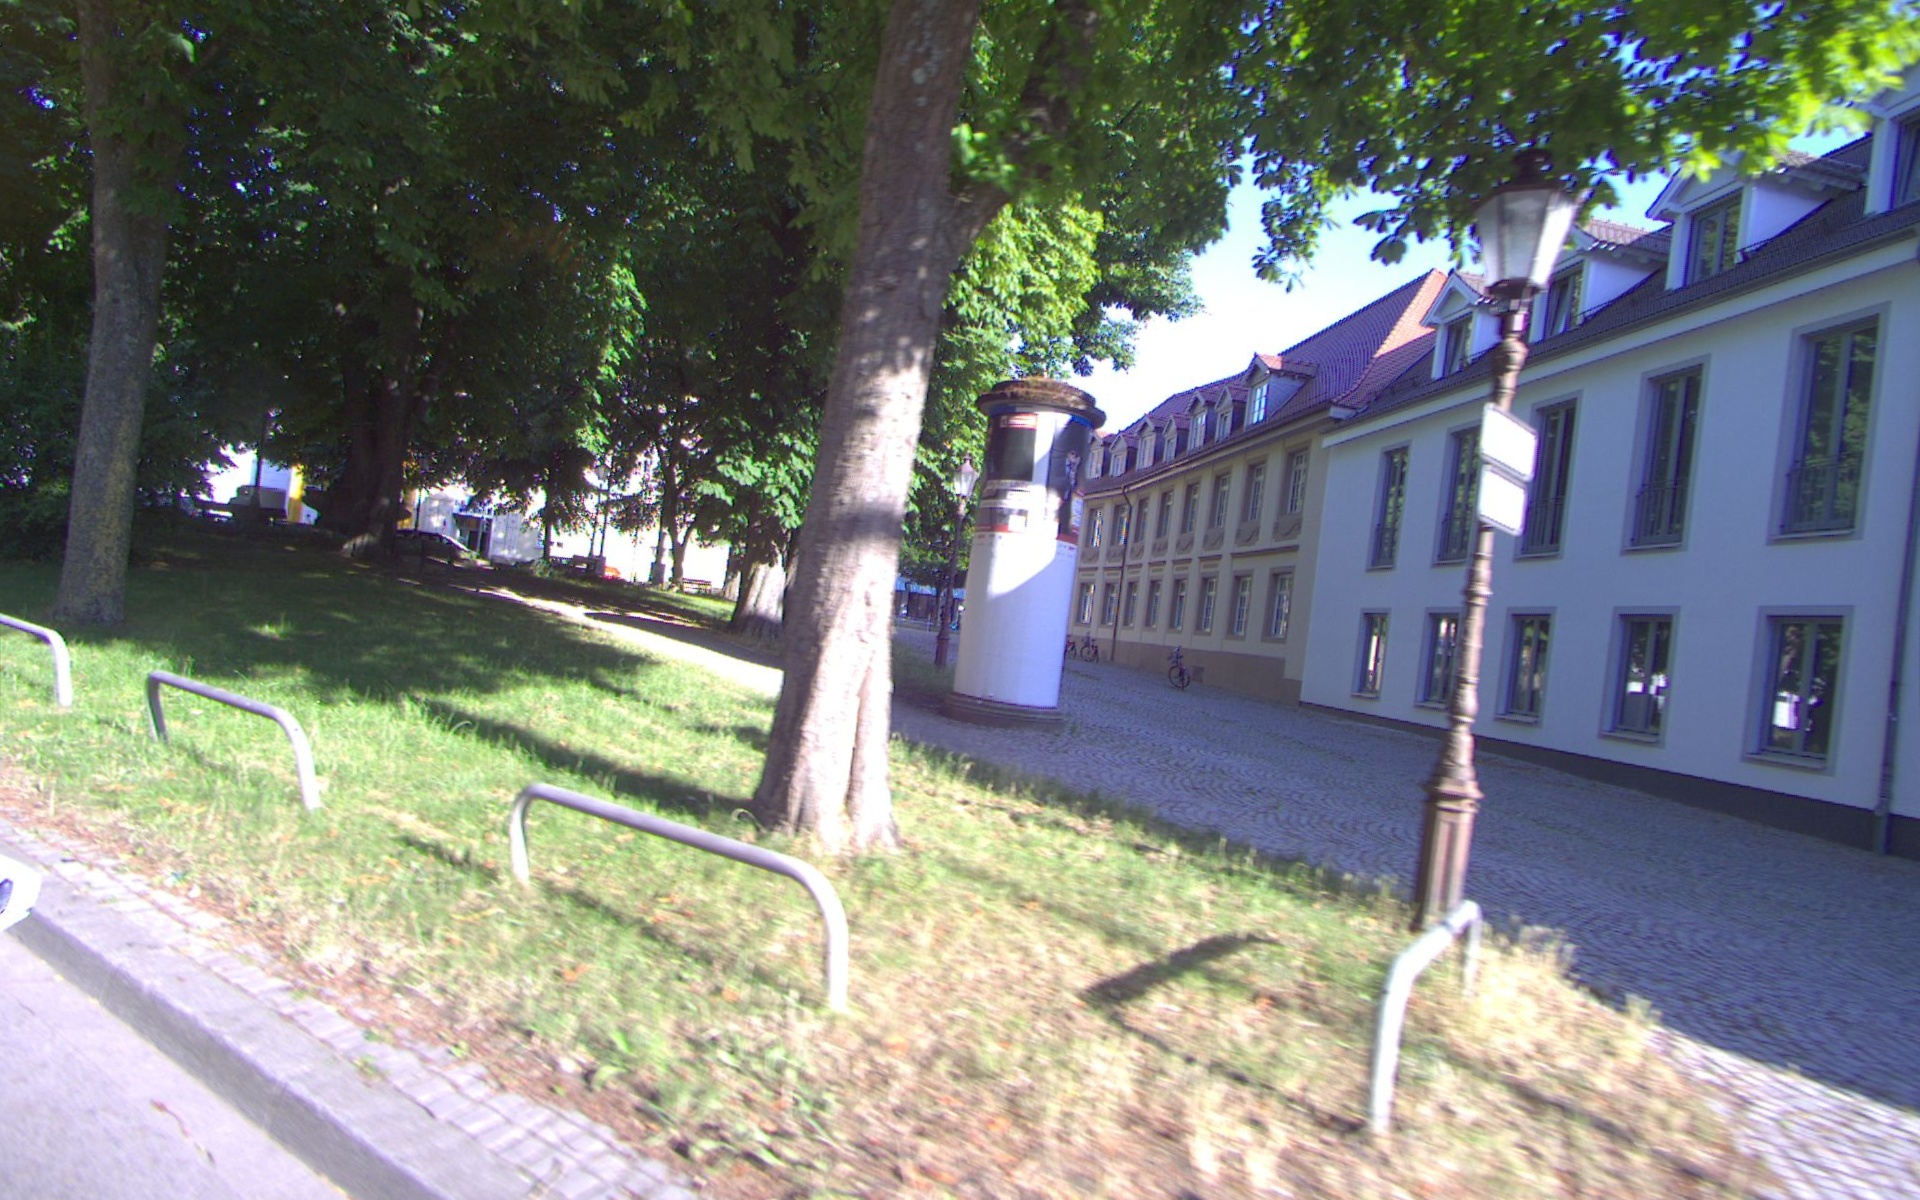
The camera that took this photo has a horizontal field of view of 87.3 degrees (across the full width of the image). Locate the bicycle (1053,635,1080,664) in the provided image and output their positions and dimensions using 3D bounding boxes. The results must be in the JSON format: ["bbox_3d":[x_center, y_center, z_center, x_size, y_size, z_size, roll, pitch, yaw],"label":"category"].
[{"bbox_3d":[4.201,1.929,39.794,0.507,0.970,1.757,7,0,-10],"label":"bicycle"}]

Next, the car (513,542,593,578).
[{"bbox_3d":[-22.397,-2.211,55.485,3.740,1.440,1.671,8,1,-13],"label":"car"}]

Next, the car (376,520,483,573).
[{"bbox_3d":[-25.301,-2.534,48.122,3.936,1.814,1.997,8,-2,-12],"label":"car"}]

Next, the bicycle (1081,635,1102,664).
[{"bbox_3d":[4.992,1.865,38.393,0.506,0.970,1.760,7,0,2],"label":"bicycle"}]

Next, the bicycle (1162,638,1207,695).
[{"bbox_3d":[6.040,1.777,27.192,0.709,1.334,1.764,7,0,2],"label":"bicycle"}]
